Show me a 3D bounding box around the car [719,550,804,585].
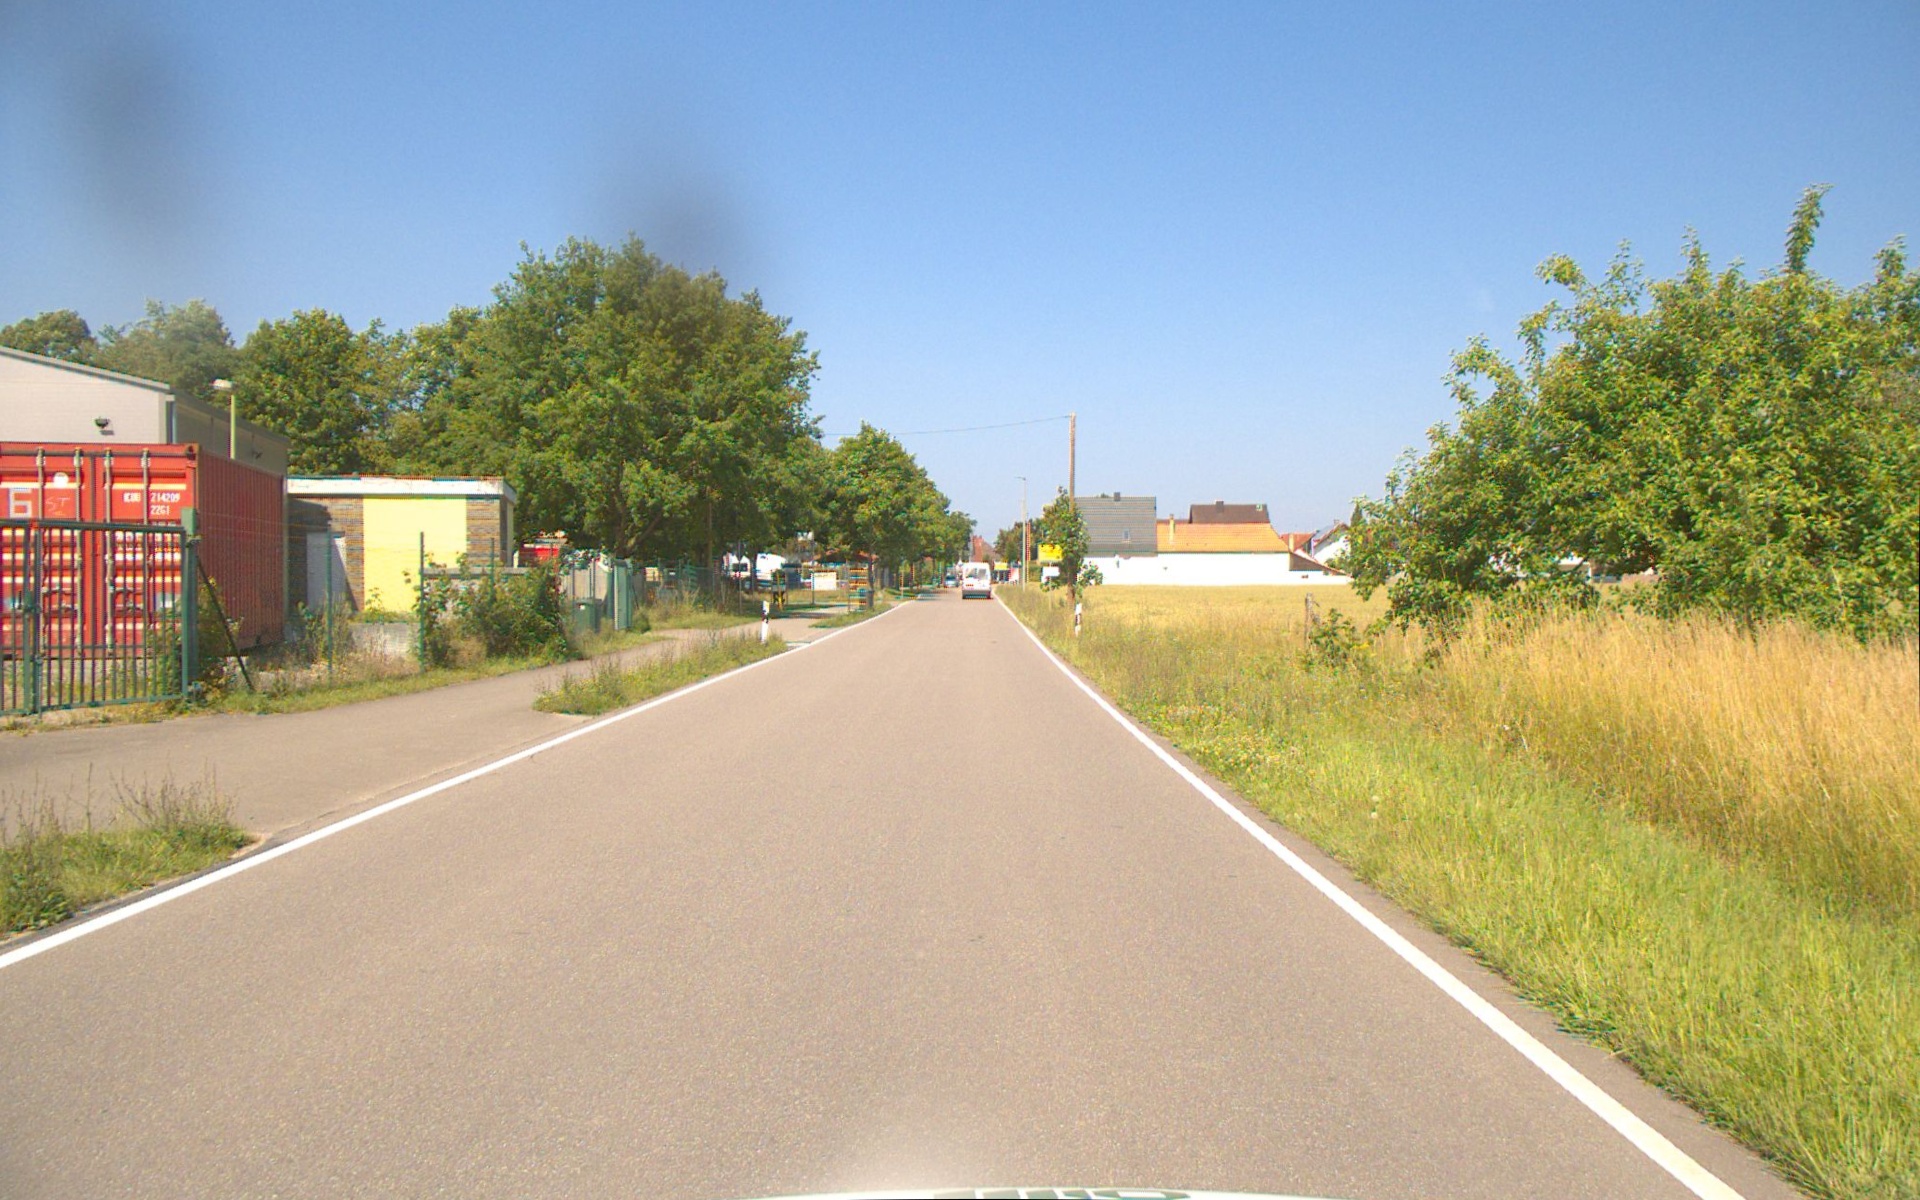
[{"bbox_3d":[-13.445,-2.185,112.275,5.557,2.305,1.972,-1,1,-39],"label":"car"}]

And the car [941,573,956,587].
[{"bbox_3d":[-1.349,-2.377,197.310,1.734,1.618,4.000,0,1,0],"label":"car"}]

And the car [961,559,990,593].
[{"bbox_3d":[1.062,-1.657,114.603,1.952,2.305,4.727,0,1,0],"label":"car"}]

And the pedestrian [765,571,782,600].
[{"bbox_3d":[-10.372,-0.807,91.877,0.663,1.593,0.719,0,1,20],"label":"pedestrian"}]

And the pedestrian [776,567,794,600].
[{"bbox_3d":[-9.797,-0.937,92.565,0.705,1.834,0.710,0,1,20],"label":"pedestrian"}]
